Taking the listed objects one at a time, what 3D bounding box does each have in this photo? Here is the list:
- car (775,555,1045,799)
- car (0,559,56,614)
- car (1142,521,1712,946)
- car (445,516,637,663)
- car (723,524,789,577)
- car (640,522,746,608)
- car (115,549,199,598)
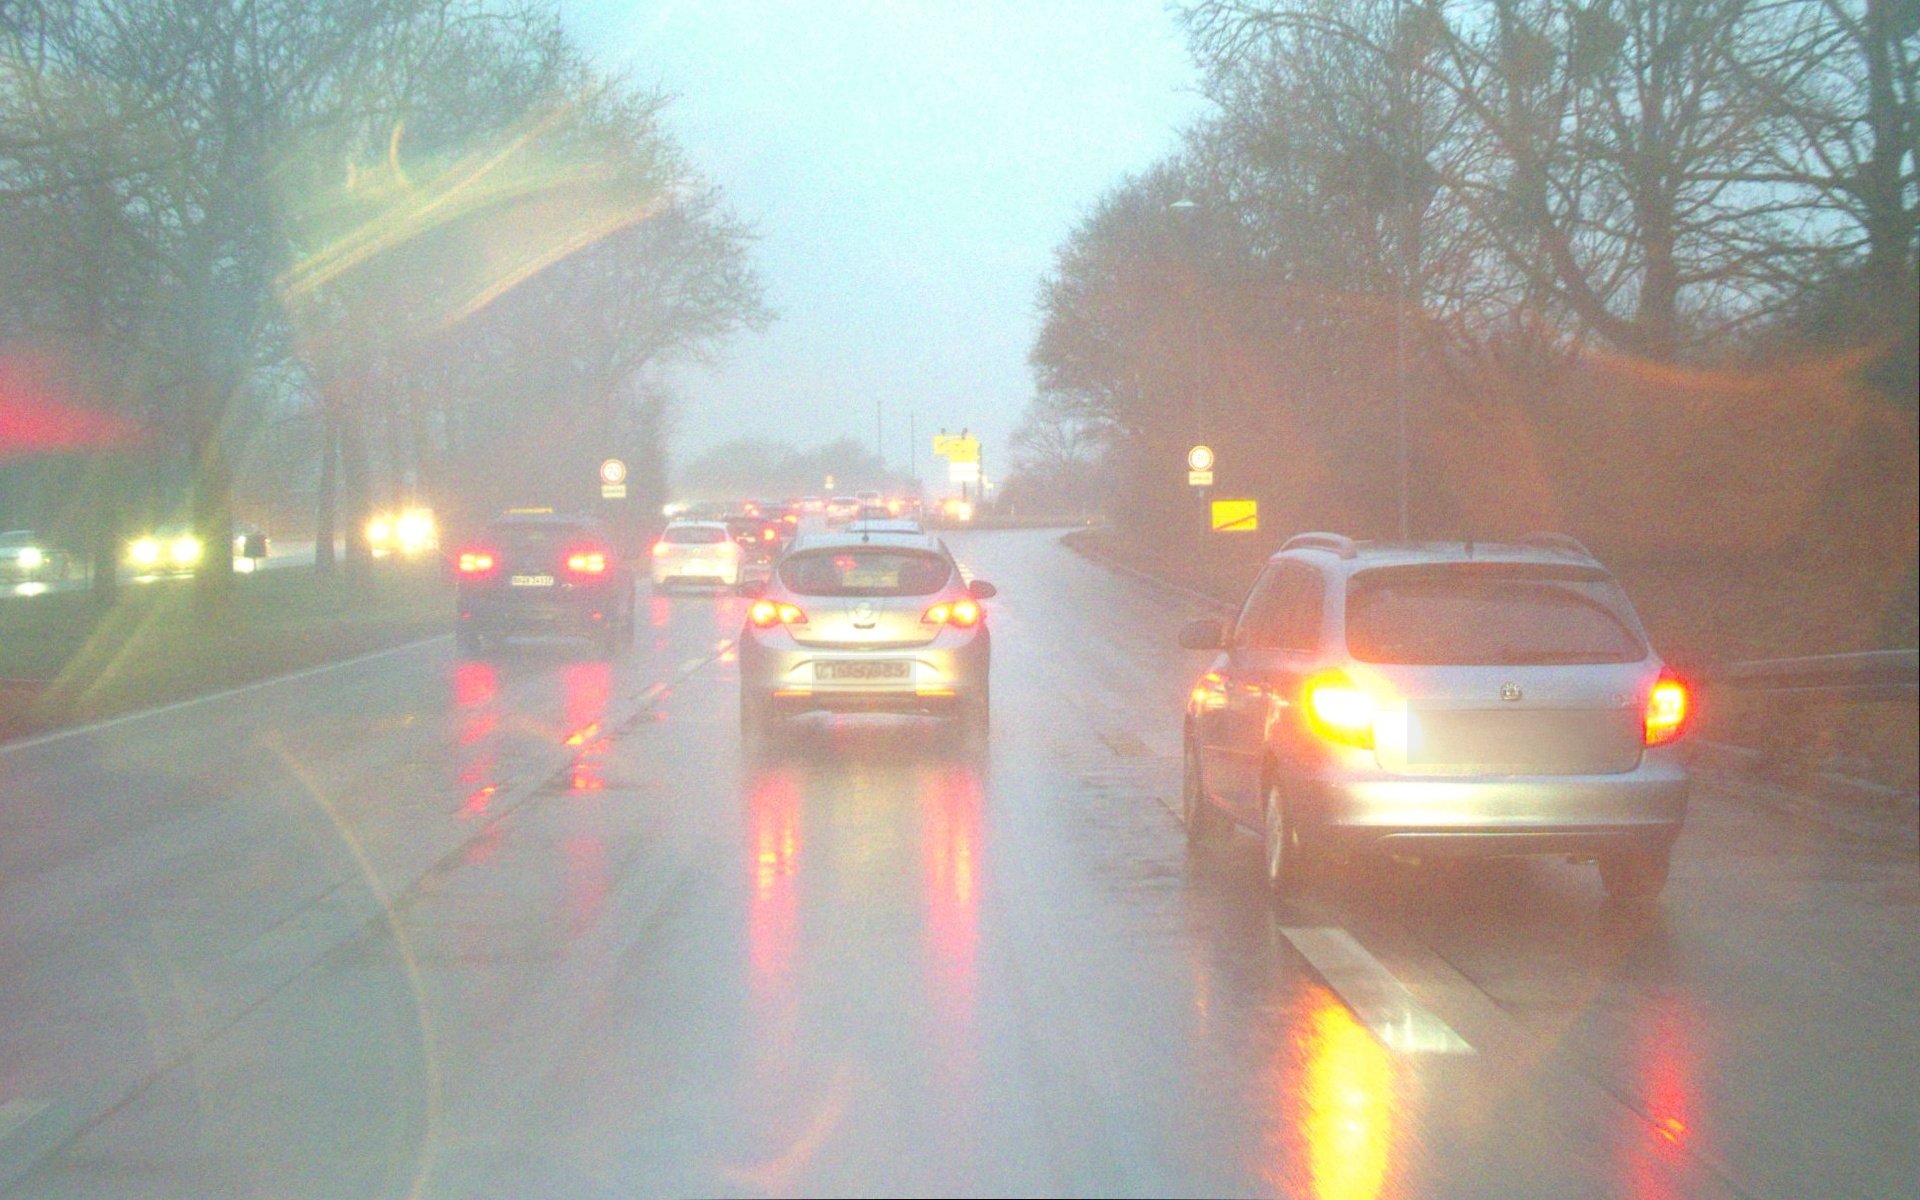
[{"bbox_3d":[-0.366,0.520,25.771,1.822,1.642,4.466,1,0,-1],"label":"car"},{"bbox_3d":[-26.629,-0.397,95.817,1.751,1.477,4.198,0,1,0],"label":"car"},{"bbox_3d":[1.951,0.518,15.727,1.933,1.642,4.466,1,0,-1],"label":"car"},{"bbox_3d":[-4.941,-0.142,41.027,1.822,1.642,4.000,-1,1,-1],"label":"car"},{"bbox_3d":[-5.280,-1.282,89.325,1.505,1.334,4.000,-1,1,-1],"label":"car"},{"bbox_3d":[-5.272,-0.697,68.367,1.822,1.642,4.000,-1,1,-1],"label":"car"},{"bbox_3d":[-22.836,-0.774,97.864,1.637,1.335,4.001,1,1,-3],"label":"car"}]
